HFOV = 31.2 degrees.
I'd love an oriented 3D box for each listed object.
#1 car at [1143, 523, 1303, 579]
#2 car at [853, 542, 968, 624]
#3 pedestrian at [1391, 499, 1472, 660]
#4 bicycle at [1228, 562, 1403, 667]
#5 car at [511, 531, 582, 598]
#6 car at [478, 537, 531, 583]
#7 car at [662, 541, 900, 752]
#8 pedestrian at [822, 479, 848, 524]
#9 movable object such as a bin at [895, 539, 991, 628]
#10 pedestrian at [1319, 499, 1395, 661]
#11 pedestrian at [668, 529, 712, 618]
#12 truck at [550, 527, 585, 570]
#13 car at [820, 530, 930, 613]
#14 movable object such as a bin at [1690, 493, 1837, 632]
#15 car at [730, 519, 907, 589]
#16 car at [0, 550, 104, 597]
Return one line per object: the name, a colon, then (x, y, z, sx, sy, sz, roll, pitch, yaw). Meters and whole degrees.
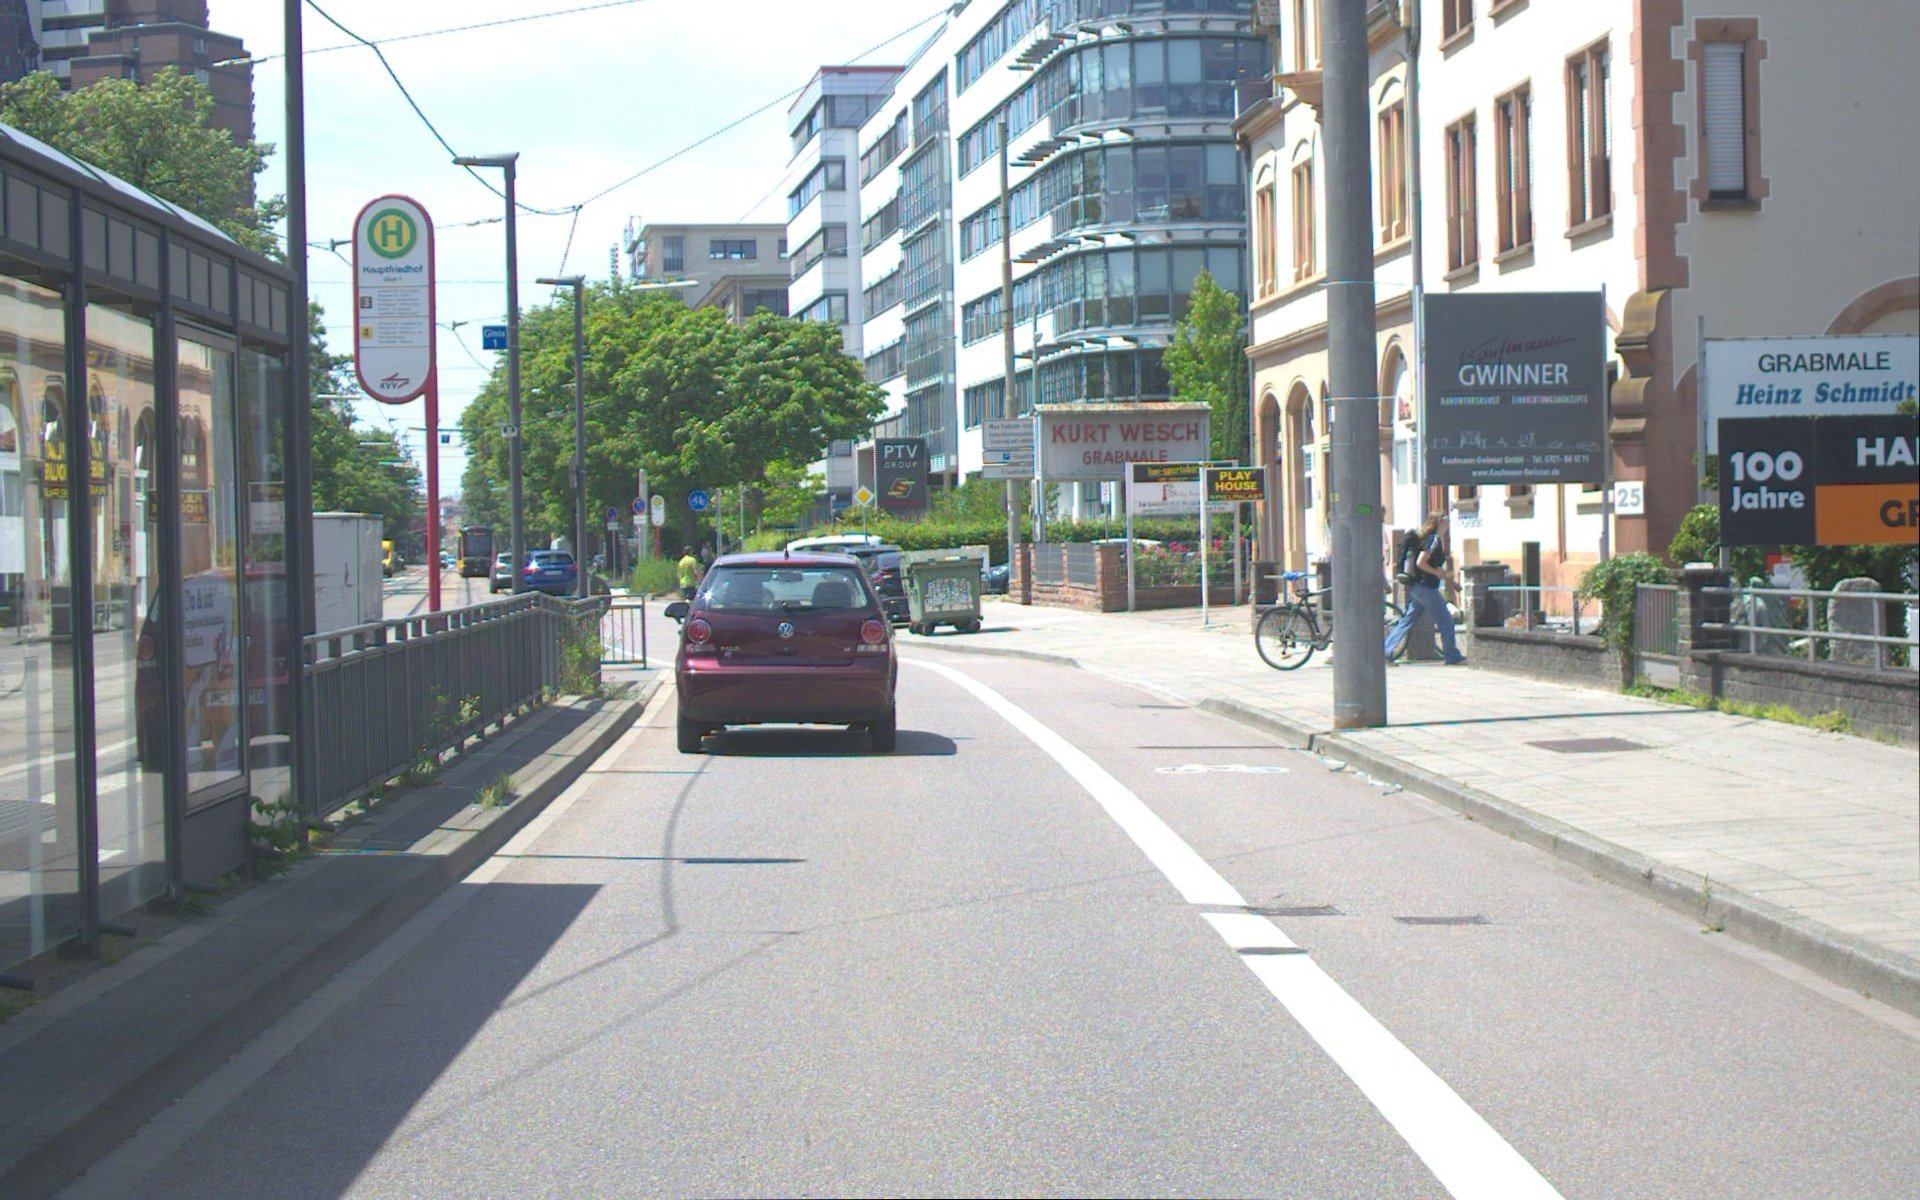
car: (7.252, -1.356, 95.006, 4.148, 1.454, 1.818, -1, 1, -4)
car: (-1.057, -0.359, 70.577, 1.772, 1.543, 4.468, -3, 1, -8)
pedestrian: (5.015, -0.219, 36.612, 0.824, 1.685, 0.589, -1, 1, 7)
bicycle: (3.891, 0.161, 37.676, 1.805, 1.123, 0.589, -1, 1, 29)
car: (-12.581, -1.097, 104.455, 1.993, 2.007, 4.001, 0, 1, -9)
car: (-17.928, -1.574, 135.389, 1.993, 1.733, 4.001, -2, 1, -8)
car: (-1.300, 0.293, 26.323, 1.619, 1.481, 4.000, 0, 1, 0)
pedestrian: (-4.850, -3.842, 133.871, 0.874, 1.709, 1.089, -3, 1, 1)
movable object such as a bin: (-0.304, -0.291, 59.161, 1.391, 1.450, 1.139, -3, 1, -11)
pedestrian: (4.382, -0.225, 37.923, 0.688, 1.766, 0.502, 0, 1, 25)
pedestrian: (-6.030, -0.594, 76.709, 0.780, 1.953, 0.590, -2, 1, -23)
truck: (-24.587, -3.242, 215.147, 1.993, 2.653, 4.876, 0, 1, -8)
car: (-1.934, -0.660, 76.904, 1.924, 1.687, 5.083, -3, 1, -7)
movable object such as a bin: (9.086, -0.428, 38.936, 1.329, 1.494, 1.046, -3, 1, -2)
car: (-3.813, -1.249, 92.238, 4.537, 1.793, 2.001, -1, 1, -9)
car: (-29.974, -0.876, 111.060, 1.932, 1.483, 4.443, 1, 1, 32)
